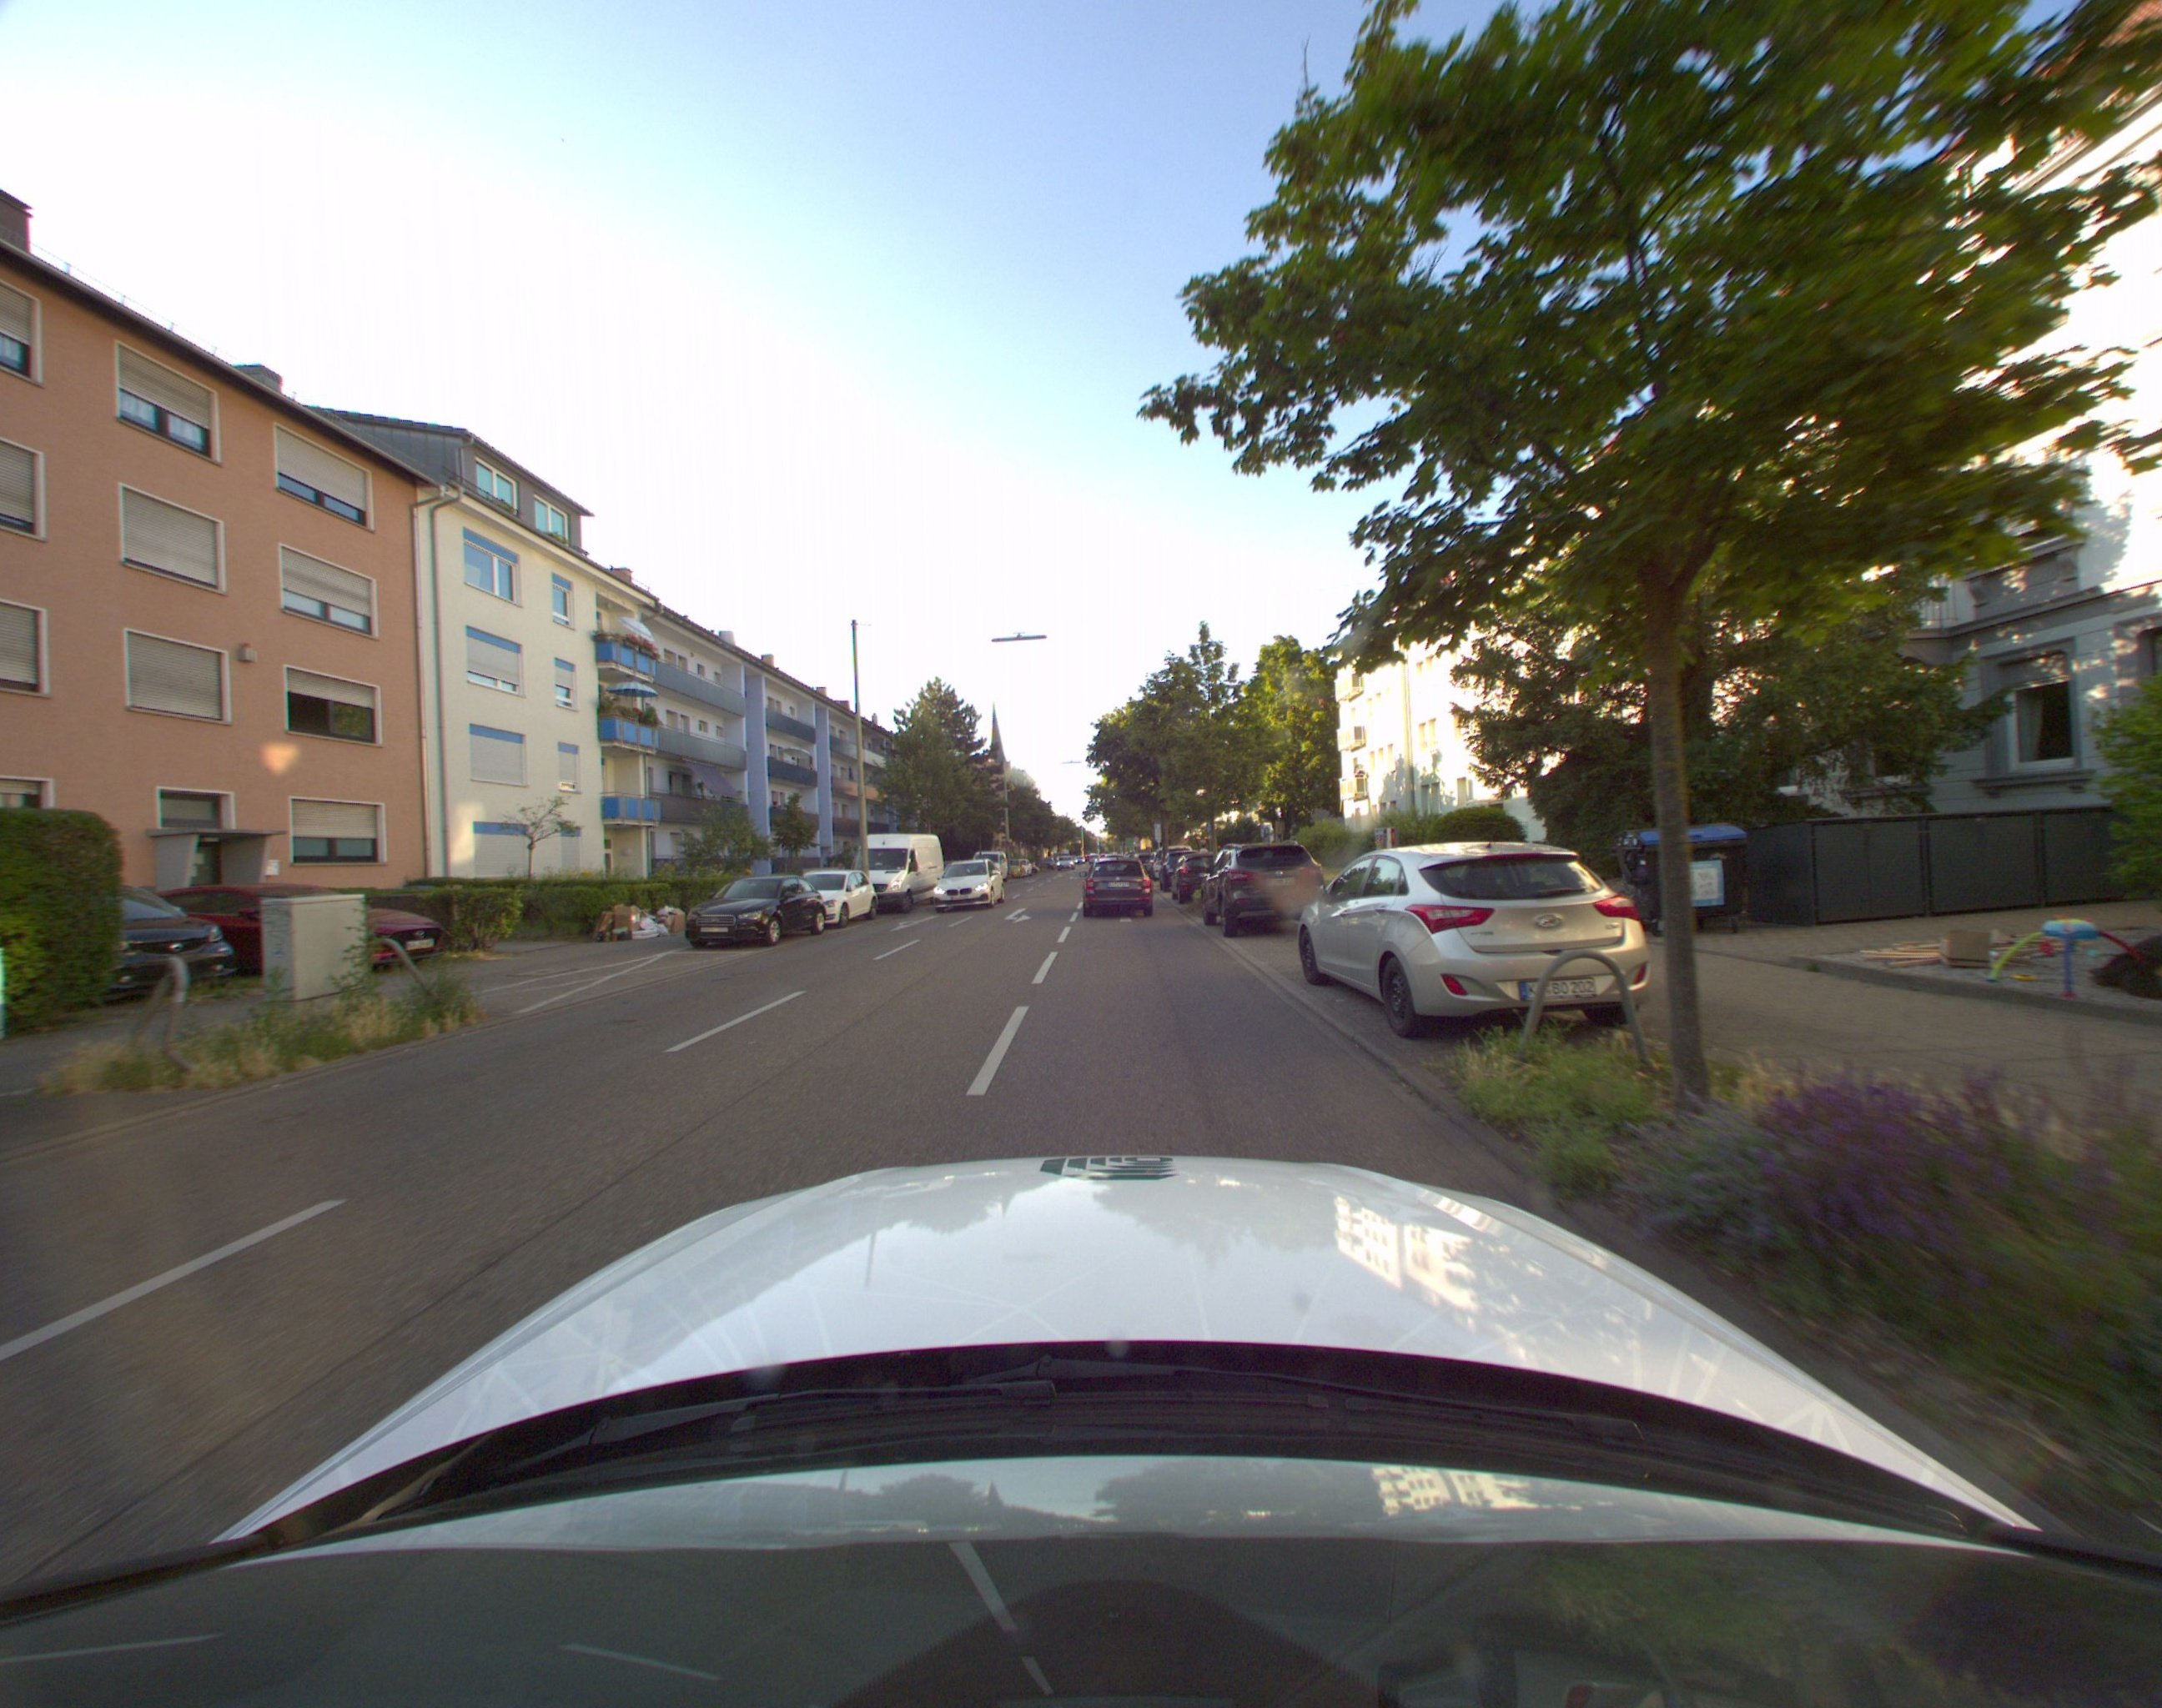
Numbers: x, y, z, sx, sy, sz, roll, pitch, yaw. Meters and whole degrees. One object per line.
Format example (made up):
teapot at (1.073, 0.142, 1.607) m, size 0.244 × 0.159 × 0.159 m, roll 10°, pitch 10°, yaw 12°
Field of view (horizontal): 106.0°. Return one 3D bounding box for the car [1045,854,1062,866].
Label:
car at (-3.641, 0.811, 107.715) m, size 1.773 × 1.480 × 3.975 m, roll -1°, pitch 0°, yaw 4°

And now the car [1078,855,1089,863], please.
car at (0.562, 1.067, 177.673) m, size 1.989 × 1.750 × 3.995 m, roll -2°, pitch 0°, yaw -3°

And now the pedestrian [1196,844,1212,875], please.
pedestrian at (7.462, 0.348, 49.573) m, size 0.746 × 1.861 × 1.068 m, roll -3°, pitch 0°, yaw 1°

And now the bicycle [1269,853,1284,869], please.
bicycle at (11.548, 0.408, 48.095) m, size 0.473 × 0.944 × 1.681 m, roll -3°, pitch 0°, yaw 1°

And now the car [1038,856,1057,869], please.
car at (-3.932, 1.002, 95.193) m, size 1.773 × 1.480 × 4.037 m, roll -1°, pitch 0°, yaw 4°

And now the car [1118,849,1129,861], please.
car at (6.702, 0.175, 129.303) m, size 1.747 × 1.806 × 4.002 m, roll -1°, pitch 0°, yaw 2°

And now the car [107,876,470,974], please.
car at (-12.547, 1.080, 13.100) m, size 3.972 × 1.413 × 1.917 m, roll 0°, pitch 0°, yaw 2°

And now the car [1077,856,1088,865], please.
car at (0.244, 1.121, 146.609) m, size 1.733 × 1.479 × 4.311 m, roll -5°, pitch 0°, yaw 1°

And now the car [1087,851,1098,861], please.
car at (1.848, 0.302, 131.438) m, size 1.776 × 1.480 × 3.969 m, roll -1°, pitch 0°, yaw -1°

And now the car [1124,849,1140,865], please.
car at (5.880, 0.334, 93.649) m, size 1.747 × 1.715 × 4.004 m, roll -1°, pitch 0°, yaw 3°

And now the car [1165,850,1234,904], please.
car at (3.599, 0.656, 25.381) m, size 1.607 × 1.466 × 3.960 m, roll -3°, pitch 0°, yaw 1°

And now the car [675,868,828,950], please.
car at (-6.816, 1.070, 17.289) m, size 1.606 × 1.473 × 3.814 m, roll 0°, pitch 0°, yaw 1°

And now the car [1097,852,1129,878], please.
car at (2.009, 0.719, 51.139) m, size 1.885 × 1.506 × 3.790 m, roll 2°, pitch -1°, yaw 1°

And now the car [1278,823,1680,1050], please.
car at (3.267, 0.570, 7.796) m, size 1.712 × 1.494 × 4.394 m, roll -2°, pitch 0°, yaw 1°

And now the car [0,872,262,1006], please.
car at (-13.412, 1.055, 10.542) m, size 3.972 × 1.528 × 1.630 m, roll -1°, pitch 0°, yaw 1°

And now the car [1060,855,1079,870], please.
car at (-1.218, 0.918, 88.277) m, size 1.774 × 1.494 × 3.973 m, roll -5°, pitch 0°, yaw 2°

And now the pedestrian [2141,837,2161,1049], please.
pedestrian at (6.601, 0.506, 4.403) m, size 0.670 × 1.235 × 0.791 m, roll -1°, pitch -1°, yaw 2°

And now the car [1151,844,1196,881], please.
car at (4.702, 0.418, 41.794) m, size 1.794 × 1.808 × 4.423 m, roll -1°, pitch 0°, yaw 0°

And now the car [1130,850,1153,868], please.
car at (5.221, 0.443, 70.938) m, size 1.748 × 1.557 × 4.104 m, roll -1°, pitch -1°, yaw 1°

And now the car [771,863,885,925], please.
car at (-6.784, 1.017, 22.313) m, size 1.700 × 1.492 × 4.060 m, roll 0°, pitch 0°, yaw 2°

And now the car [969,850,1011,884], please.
car at (-5.719, 0.771, 51.765) m, size 1.862 × 2.031 × 5.302 m, roll -1°, pitch 0°, yaw 1°

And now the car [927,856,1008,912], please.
car at (-3.604, 0.902, 26.573) m, size 1.873 × 1.543 × 4.267 m, roll -4°, pitch 0°, yaw 0°

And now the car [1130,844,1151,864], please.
car at (5.887, 0.040, 81.121) m, size 1.908 × 1.860 × 5.638 m, roll -2°, pitch 0°, yaw 4°

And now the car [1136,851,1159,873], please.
car at (5.245, 0.595, 64.609) m, size 1.747 × 1.686 × 4.256 m, roll -1°, pitch 0°, yaw 4°

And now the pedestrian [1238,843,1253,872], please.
pedestrian at (10.158, 0.203, 50.380) m, size 0.793 × 1.721 × 0.746 m, roll -3°, pitch -1°, yaw 10°

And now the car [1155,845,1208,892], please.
car at (3.958, 0.560, 32.620) m, size 1.747 × 1.662 × 4.256 m, roll -3°, pitch 0°, yaw 4°

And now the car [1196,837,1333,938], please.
car at (3.311, 0.555, 15.465) m, size 1.712 × 1.601 × 4.097 m, roll -2°, pitch 0°, yaw 1°

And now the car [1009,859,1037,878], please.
car at (-4.781, 1.177, 67.680) m, size 1.773 × 1.494 × 3.975 m, roll -1°, pitch 0°, yaw 4°

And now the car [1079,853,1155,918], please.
car at (0.969, 0.743, 21.104) m, size 1.747 × 1.492 × 4.004 m, roll -1°, pitch 0°, yaw 3°

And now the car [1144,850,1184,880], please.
car at (4.711, 0.601, 46.553) m, size 1.749 × 1.556 × 4.251 m, roll -3°, pitch 0°, yaw 0°

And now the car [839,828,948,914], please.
car at (-6.363, 0.539, 28.613) m, size 1.986 × 2.616 × 7.107 m, roll -1°, pitch 0°, yaw 1°

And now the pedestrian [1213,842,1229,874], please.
pedestrian at (8.414, 0.224, 48.842) m, size 0.793 × 1.861 × 0.954 m, roll -3°, pitch -1°, yaw 13°

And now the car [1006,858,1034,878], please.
car at (-4.621, 1.065, 62.175) m, size 1.611 × 1.480 × 3.876 m, roll -1°, pitch 0°, yaw 4°

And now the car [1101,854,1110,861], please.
car at (5.367, 0.798, 181.895) m, size 1.641 × 1.599 × 3.645 m, roll -2°, pitch 0°, yaw -3°

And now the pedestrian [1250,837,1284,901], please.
pedestrian at (5.065, 0.408, 22.222) m, size 0.784 × 1.700 × 0.809 m, roll -2°, pitch -1°, yaw 6°

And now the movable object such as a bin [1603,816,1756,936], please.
movable object such as a bin at (8.194, 0.289, 11.237) m, size 1.259 × 1.492 × 1.143 m, roll -4°, pitch -1°, yaw 11°

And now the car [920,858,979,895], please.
car at (-6.057, 1.014, 37.995) m, size 1.665 × 1.543 × 4.477 m, roll -2°, pitch 0°, yaw 3°
